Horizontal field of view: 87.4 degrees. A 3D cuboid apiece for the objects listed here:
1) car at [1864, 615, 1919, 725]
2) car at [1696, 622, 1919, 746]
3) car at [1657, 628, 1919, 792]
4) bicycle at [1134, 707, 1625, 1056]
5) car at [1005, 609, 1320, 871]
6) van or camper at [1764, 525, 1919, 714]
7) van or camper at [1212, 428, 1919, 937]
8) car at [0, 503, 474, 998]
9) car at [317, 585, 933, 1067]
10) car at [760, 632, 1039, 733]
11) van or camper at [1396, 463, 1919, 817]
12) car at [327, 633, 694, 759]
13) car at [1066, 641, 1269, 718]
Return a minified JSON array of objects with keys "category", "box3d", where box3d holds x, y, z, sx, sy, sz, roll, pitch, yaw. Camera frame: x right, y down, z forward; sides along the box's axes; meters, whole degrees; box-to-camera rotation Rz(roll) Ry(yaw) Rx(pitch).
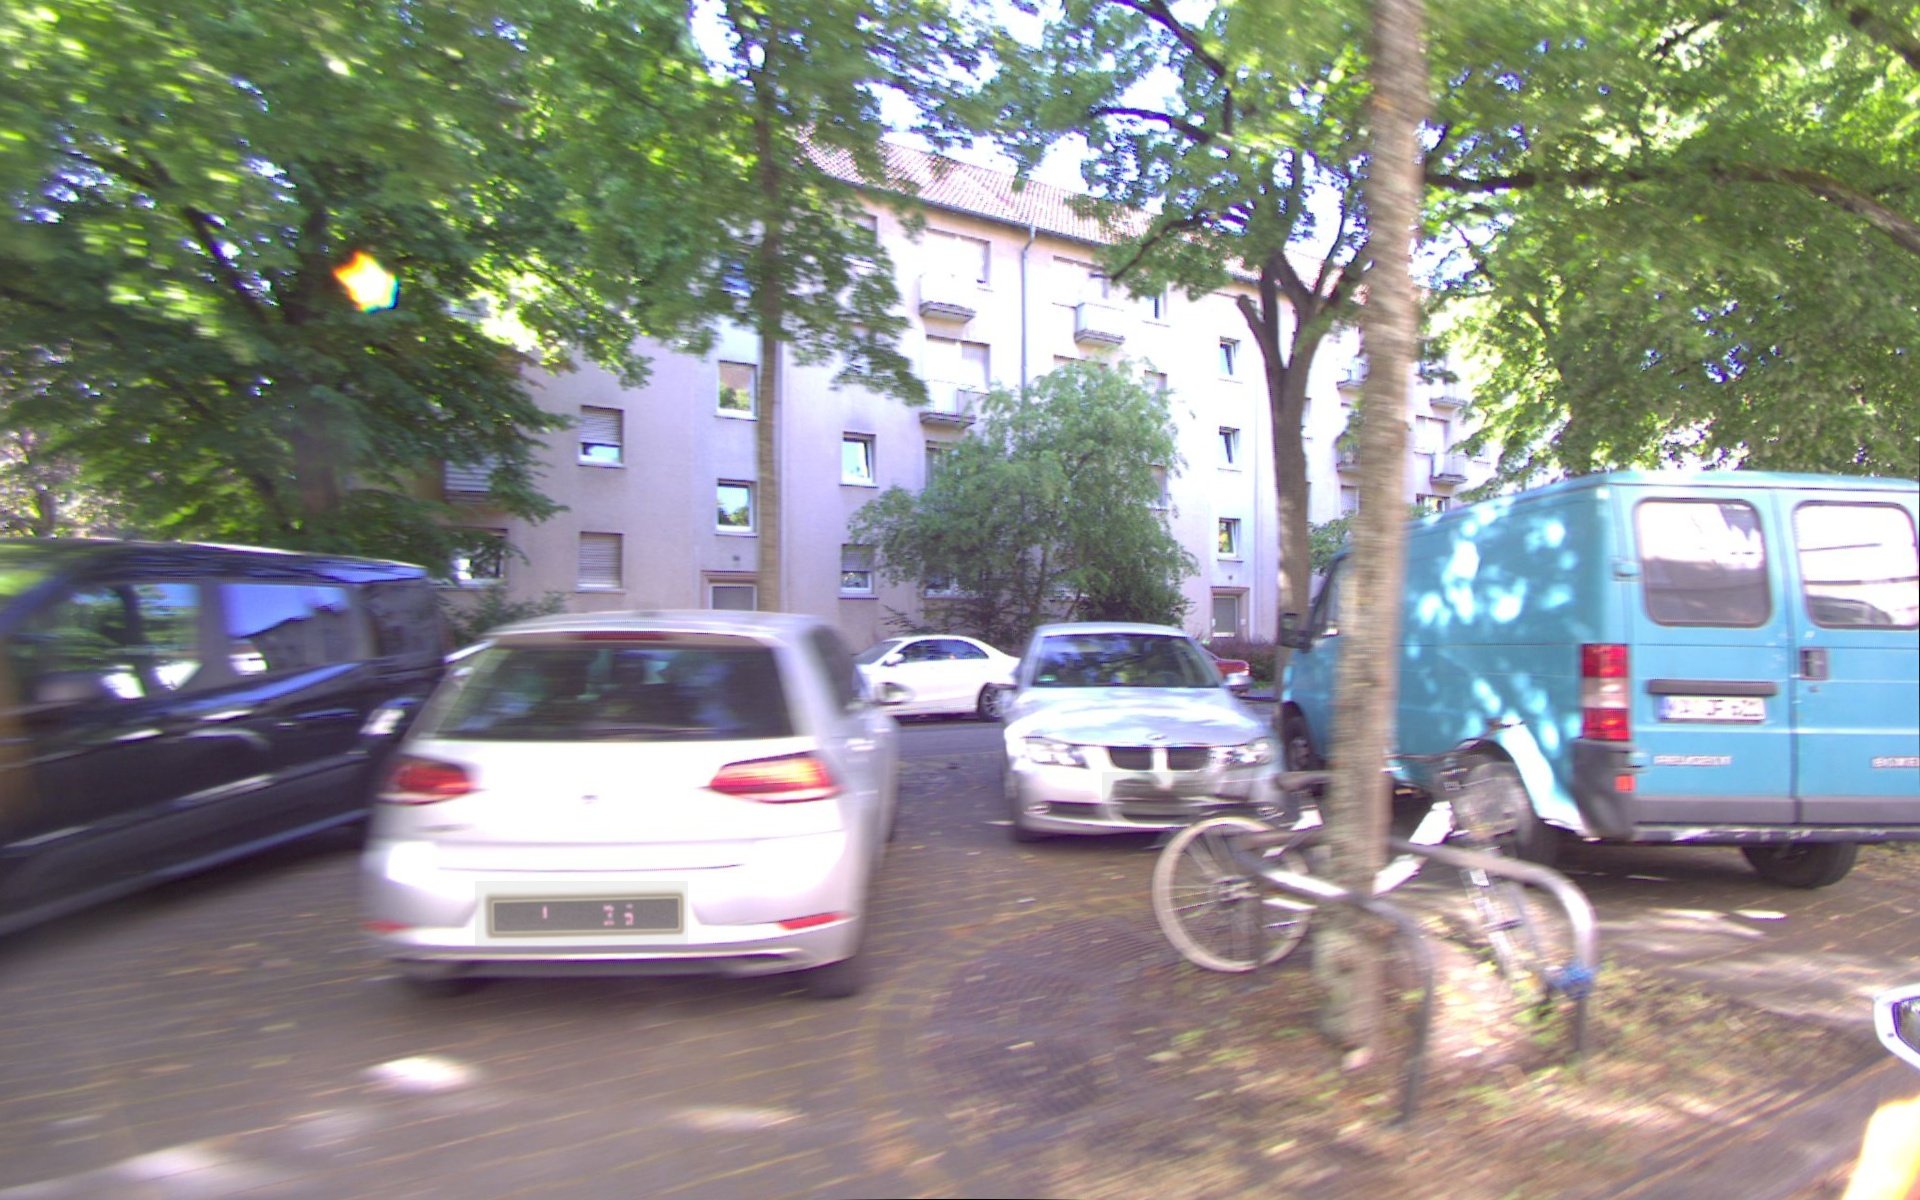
[{"category":"car","box3d":[15.317,1.030,13.978,1.788,1.650,3.964,1,-1,-3]},{"category":"car","box3d":[12.478,1.066,14.002,1.786,1.493,3.968,0,-1,5]},{"category":"car","box3d":[9.410,1.025,10.246,1.787,1.433,3.966,0,-1,-2]},{"category":"bicycle","box3d":[1.572,0.987,3.936,1.695,1.019,0.510,-1,-1,31]},{"category":"car","box3d":[1.221,0.819,7.613,1.687,1.450,4.000,0,-1,2]},{"category":"van or camper","box3d":[17.906,0.335,17.450,2.446,3.283,6.679,0,-2,0]},{"category":"van or camper","box3d":[3.844,0.446,7.403,2.178,2.305,5.513,0,-2,-5]},{"category":"car","box3d":[-4.321,0.560,4.700,1.774,1.787,4.562,0,-1,1]},{"category":"car","box3d":[-1.069,0.731,5.054,1.810,1.462,3.956,0,-1,-1]},{"category":"car","box3d":[-0.943,1.266,16.459,4.310,1.443,1.656,1,-1,-30]},{"category":"van or camper","box3d":[6.935,0.378,10.518,2.210,2.672,5.888,0,-2,0]},{"category":"car","box3d":[-5.892,1.171,13.443,4.244,1.443,1.656,1,-1,-30]},{"category":"car","box3d":[3.946,1.438,19.009,3.623,1.291,1.610,1,-1,-29]}]
